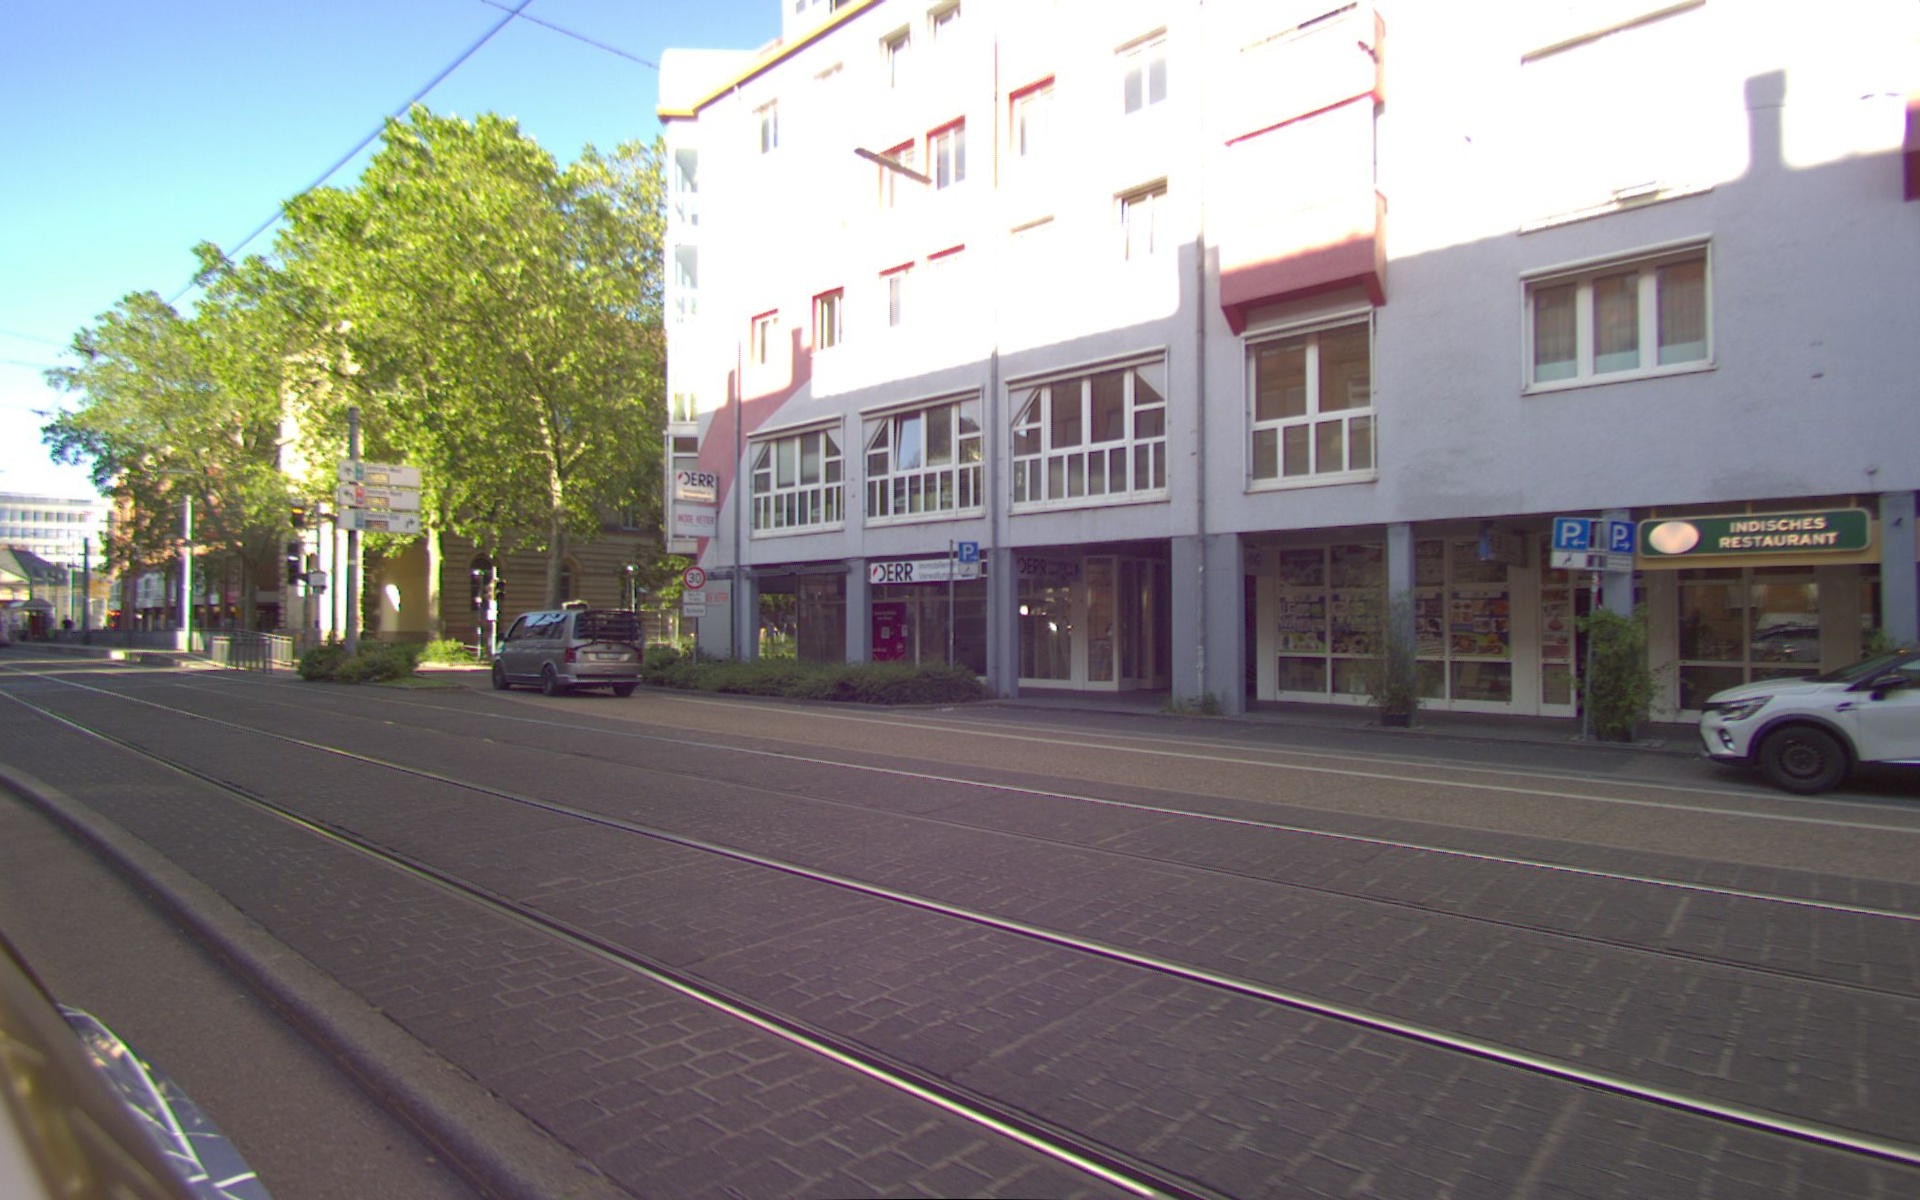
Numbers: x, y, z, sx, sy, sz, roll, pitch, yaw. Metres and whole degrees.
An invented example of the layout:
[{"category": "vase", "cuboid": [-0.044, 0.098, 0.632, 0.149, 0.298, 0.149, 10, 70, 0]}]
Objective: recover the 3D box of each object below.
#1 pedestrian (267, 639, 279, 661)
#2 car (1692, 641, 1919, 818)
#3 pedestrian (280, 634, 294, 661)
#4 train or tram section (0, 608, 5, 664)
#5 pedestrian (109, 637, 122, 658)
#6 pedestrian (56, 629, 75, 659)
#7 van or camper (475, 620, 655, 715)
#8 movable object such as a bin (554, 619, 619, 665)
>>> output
[{"category": "pedestrian", "cuboid": [-47.721, 3.463, 70.313, 0.474, 1.541, 0.577, -1, -3, 43]}, {"category": "car", "cuboid": [9.897, 1.222, 9.856, 4.365, 1.626, 1.898, -2, -3, 39]}, {"category": "pedestrian", "cuboid": [-46.983, 3.290, 70.636, 0.698, 1.896, 0.626, 2, -3, -44]}, {"category": "train or tram section", "cuboid": [-70.419, 2.732, 71.728, 16.484, 3.672, 2.941, -3, -2, 43]}, {"category": "pedestrian", "cuboid": [-75.343, 4.227, 90.306, 0.665, 1.931, 0.781, -2, -3, 40]}, {"category": "pedestrian", "cuboid": [-51.456, 2.528, 58.229, 1.033, 1.680, 0.688, -2, -3, 42]}, {"category": "van or camper", "cuboid": [-9.125, 1.515, 23.184, 4.836, 1.955, 1.971, -2, -5, 45]}, {"category": "movable object such as a bin", "cuboid": [-16.675, 1.866, 45.188, 2.604, 2.029, 1.179, 1, -2, -25]}]
